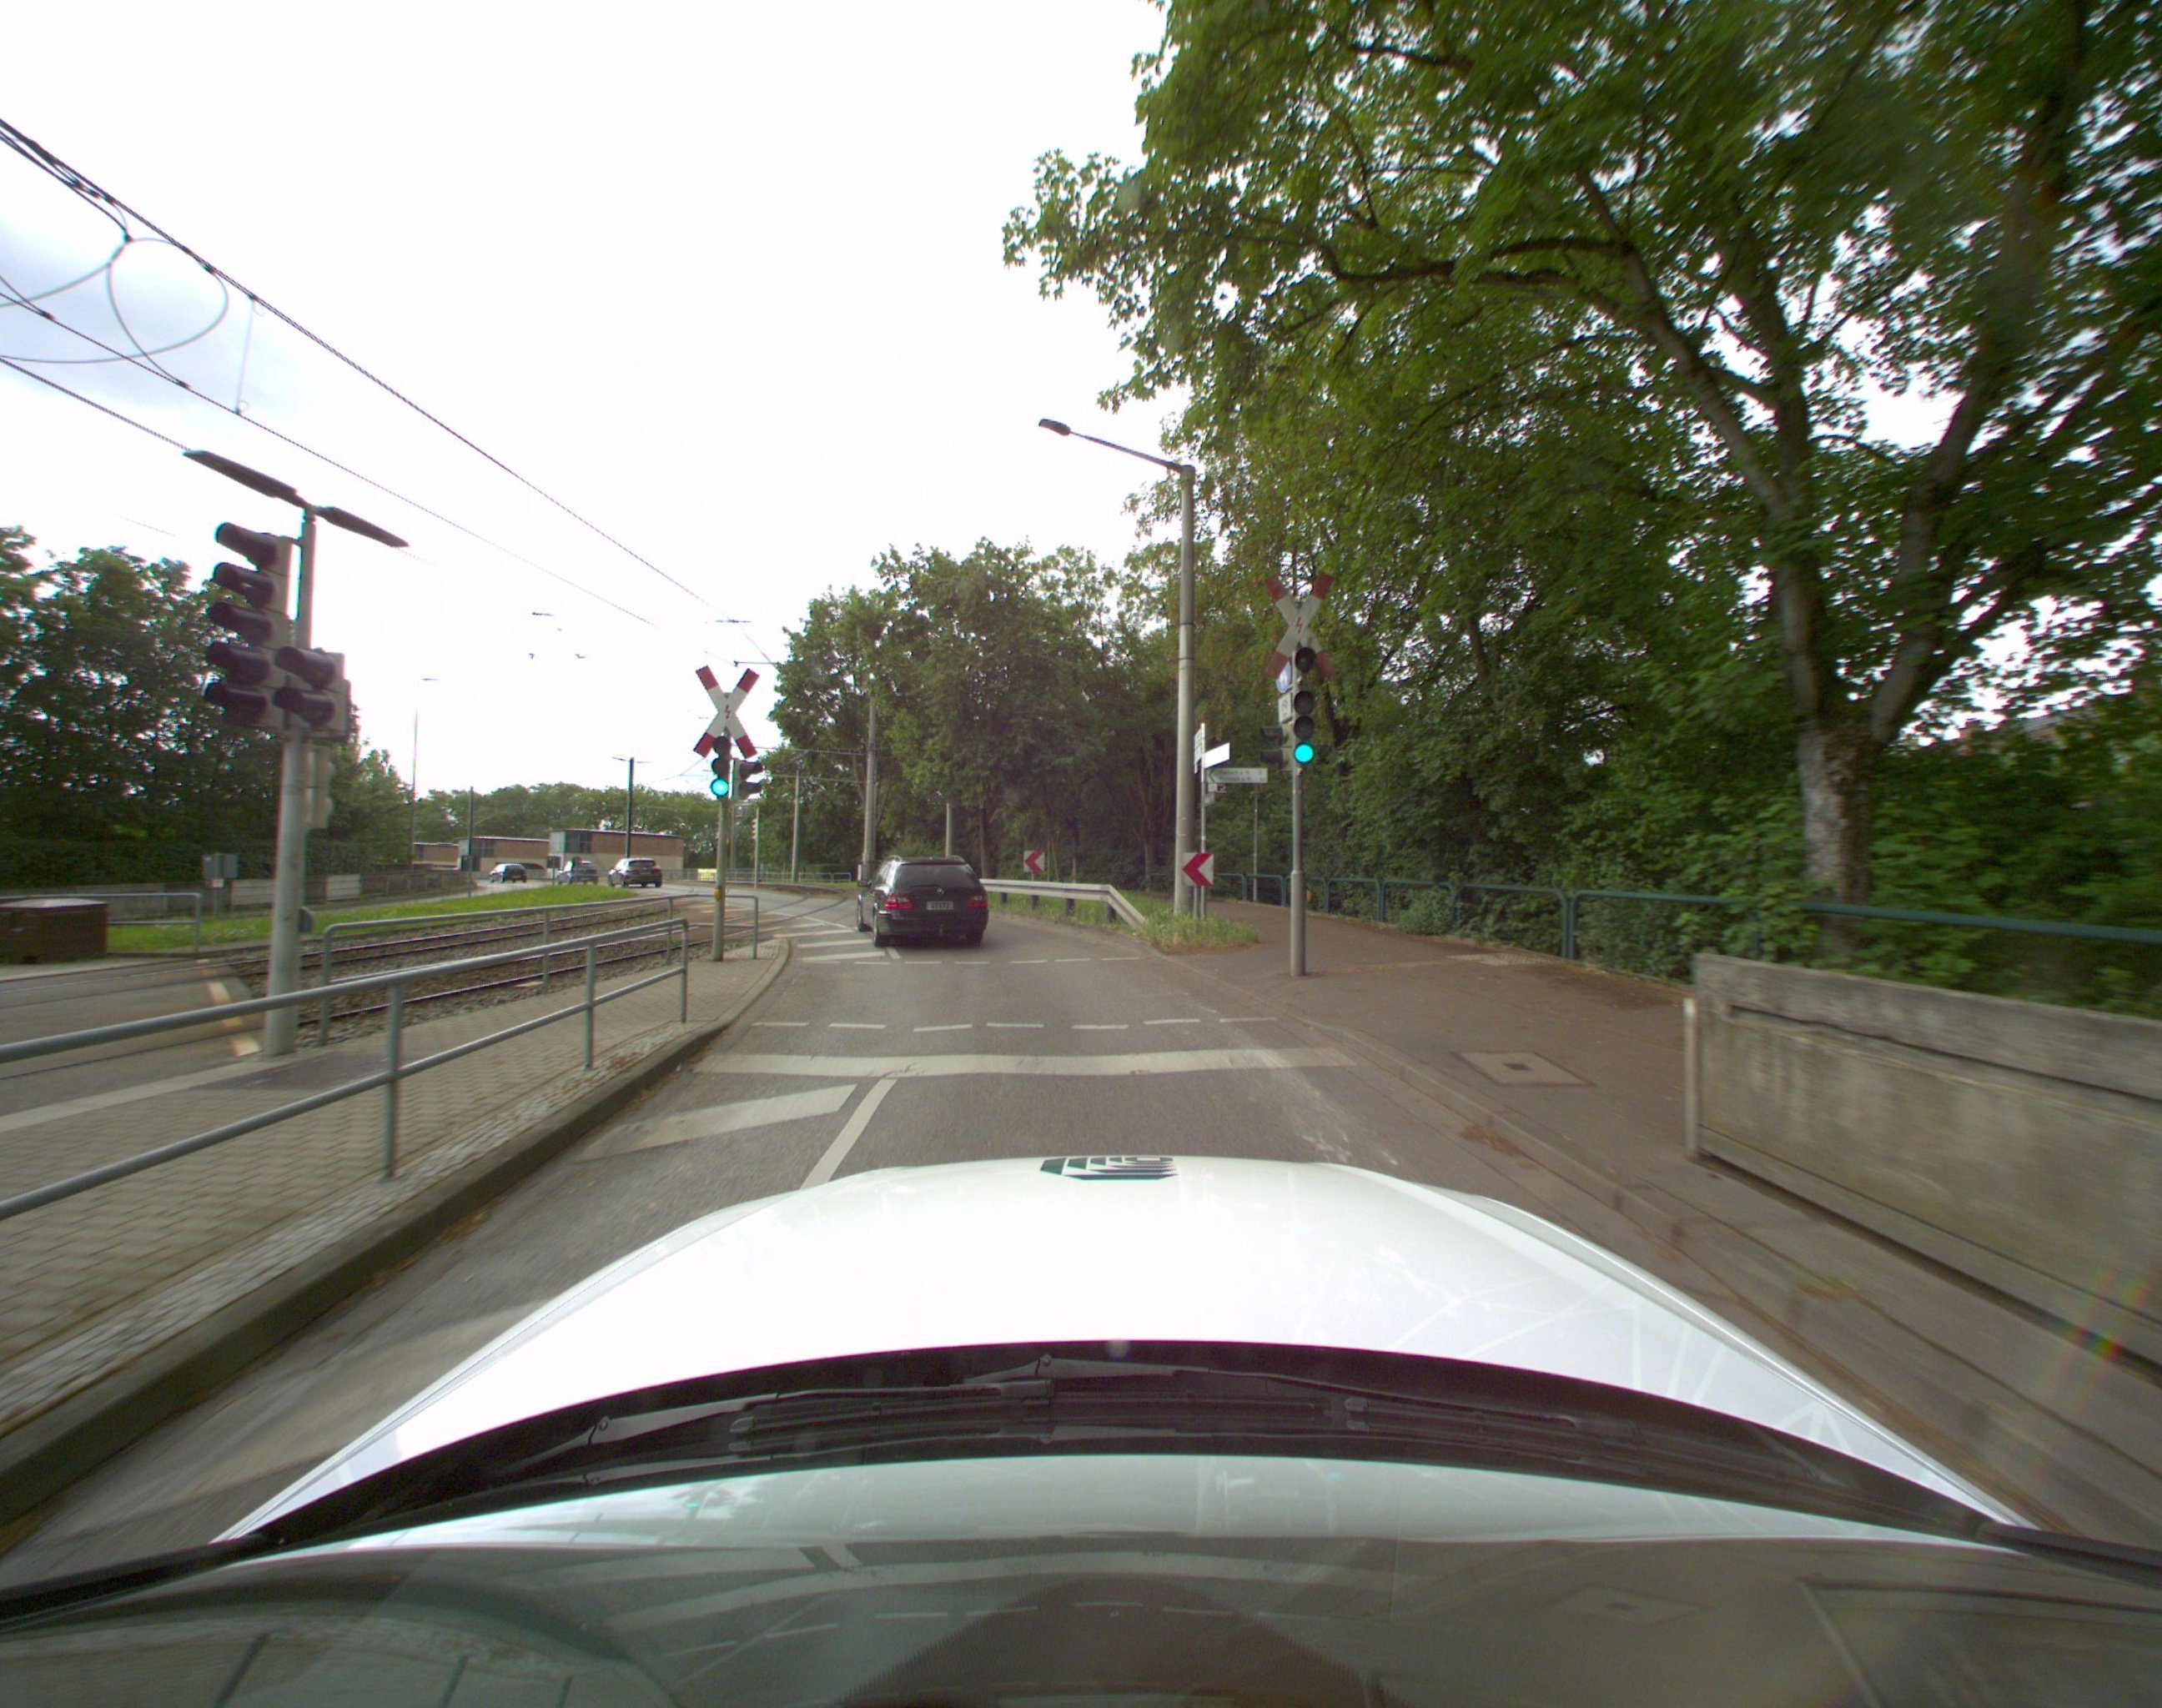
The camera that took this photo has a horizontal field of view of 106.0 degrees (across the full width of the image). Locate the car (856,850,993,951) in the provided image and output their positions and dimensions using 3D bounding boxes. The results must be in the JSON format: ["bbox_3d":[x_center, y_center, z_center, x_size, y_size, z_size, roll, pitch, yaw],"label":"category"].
[{"bbox_3d":[-2.987,0.719,14.765,1.765,1.516,4.412,0,0,-20],"label":"car"}]

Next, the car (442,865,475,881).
[{"bbox_3d":[-64.239,2.009,83.972,4.844,1.571,2.011,-2,-4,45],"label":"car"}]

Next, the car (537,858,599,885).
[{"bbox_3d":[-32.130,1.057,50.958,4.934,1.564,2.012,0,1,42],"label":"car"}]

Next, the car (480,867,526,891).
[{"bbox_3d":[-44.001,1.875,61.969,4.483,1.673,2.012,-1,0,43],"label":"car"}]

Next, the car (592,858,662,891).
[{"bbox_3d":[-23.279,1.025,41.720,4.186,1.555,1.787,-1,0,41],"label":"car"}]
